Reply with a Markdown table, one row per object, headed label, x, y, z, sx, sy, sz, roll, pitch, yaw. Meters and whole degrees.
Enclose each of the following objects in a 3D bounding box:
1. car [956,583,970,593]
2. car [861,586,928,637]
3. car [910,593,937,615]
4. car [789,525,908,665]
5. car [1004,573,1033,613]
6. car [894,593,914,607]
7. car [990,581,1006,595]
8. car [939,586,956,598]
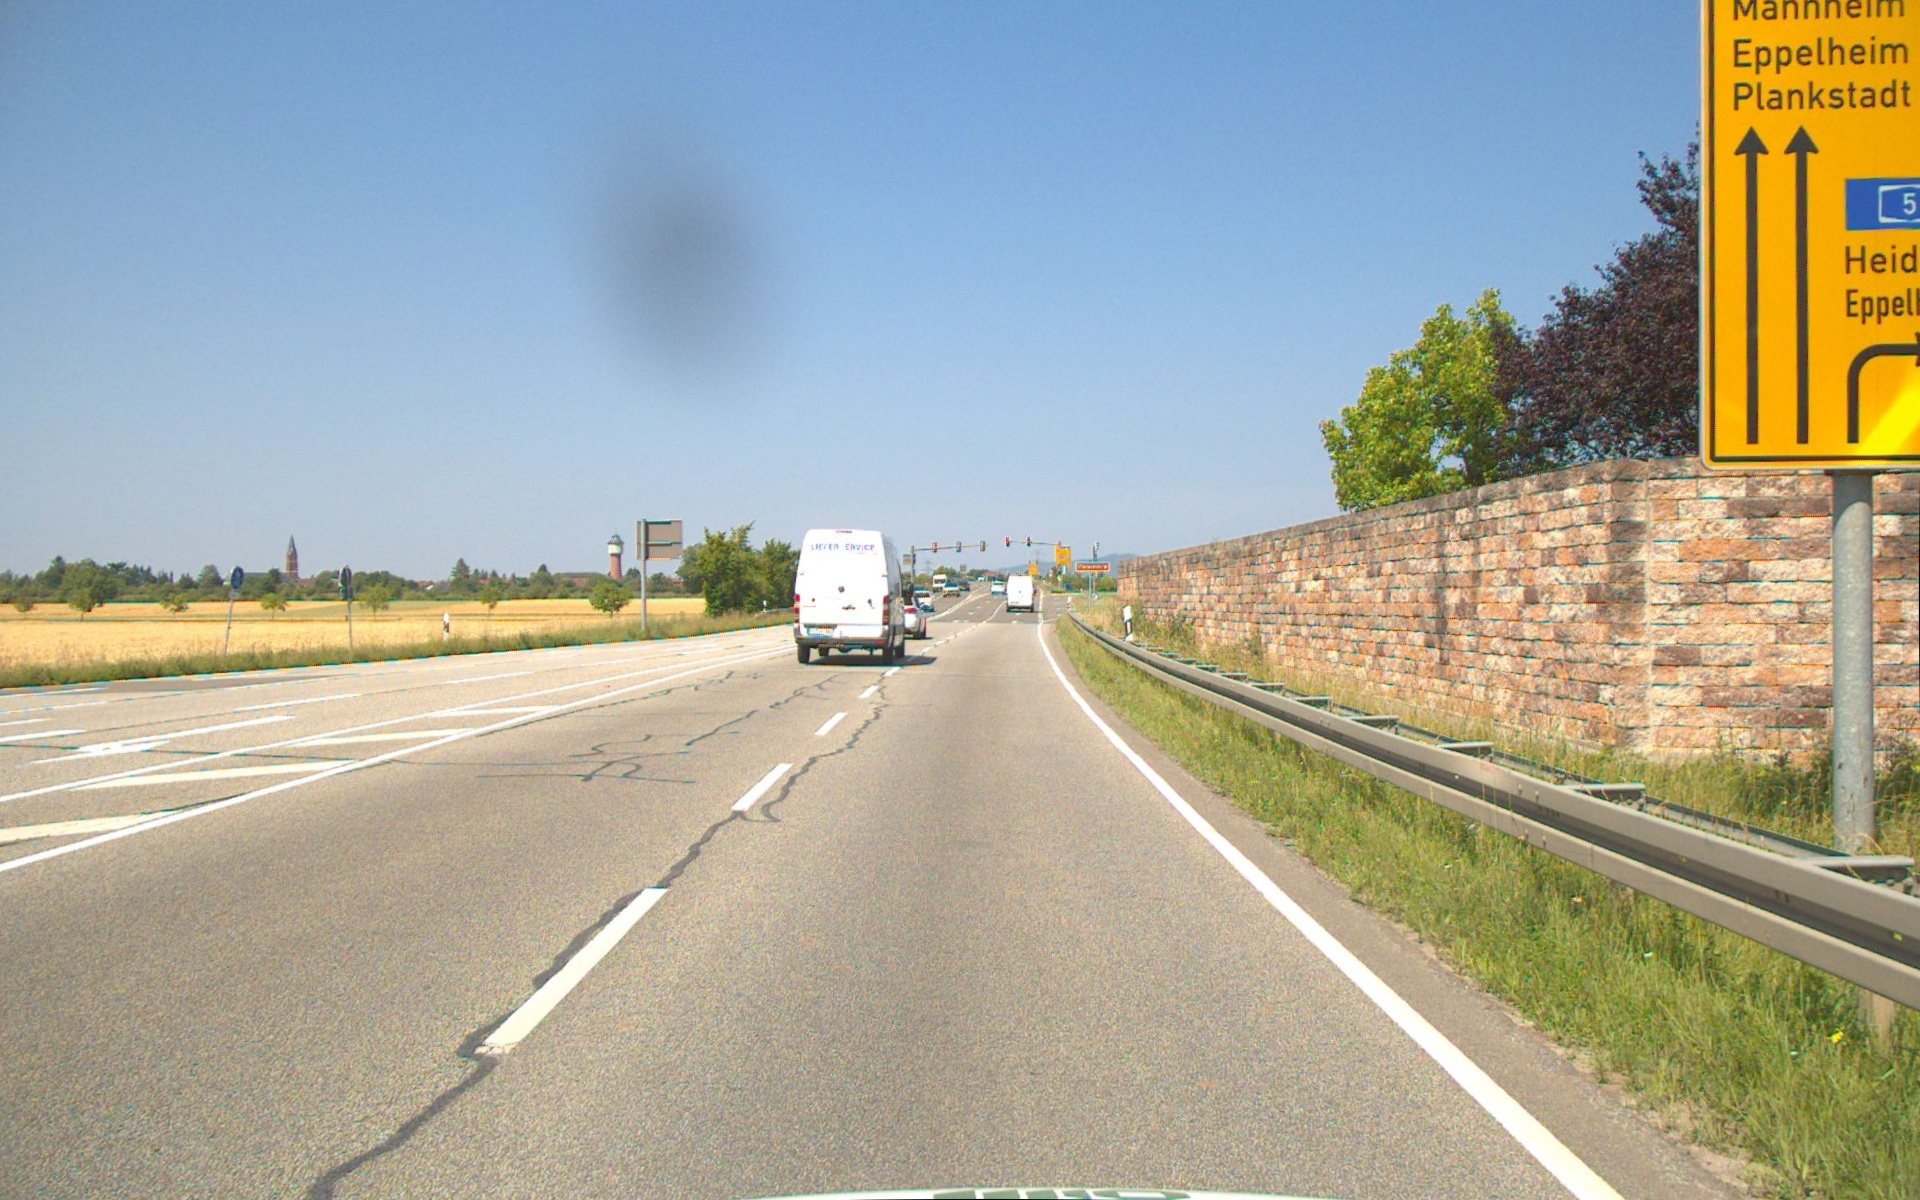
| label | x | y | z | sx | sy | sz | roll | pitch | yaw |
| --- | --- | --- | --- | --- | --- | --- | --- | --- | --- |
| car | 0.423 | -1.736 | 244.316 | 1.818 | 1.448 | 4.002 | 1 | 0 | 4 |
| car | -2.049 | 0.348 | 52.611 | 1.762 | 1.534 | 4.197 | -1 | 0 | 2 |
| car | -2.553 | 0.273 | 116.733 | 1.712 | 1.467 | 4.083 | 0 | 0 | 2 |
| car | -2.245 | -0.079 | 34.971 | 1.997 | 2.666 | 5.741 | 1 | 0 | 1 |
| car | 4.178 | -0.504 | 117.626 | 1.952 | 2.742 | 4.971 | -1 | 0 | 2 |
| car | -5.284 | -0.021 | 156.246 | 1.832 | 1.277 | 4.279 | 1 | 0 | -2 |
| car | 4.854 | -1.520 | 211.457 | 1.952 | 1.733 | 4.276 | 1 | 0 | 3 |
| car | -1.492 | -0.972 | 197.885 | 1.818 | 1.448 | 4.002 | -1 | 0 | 4 |
